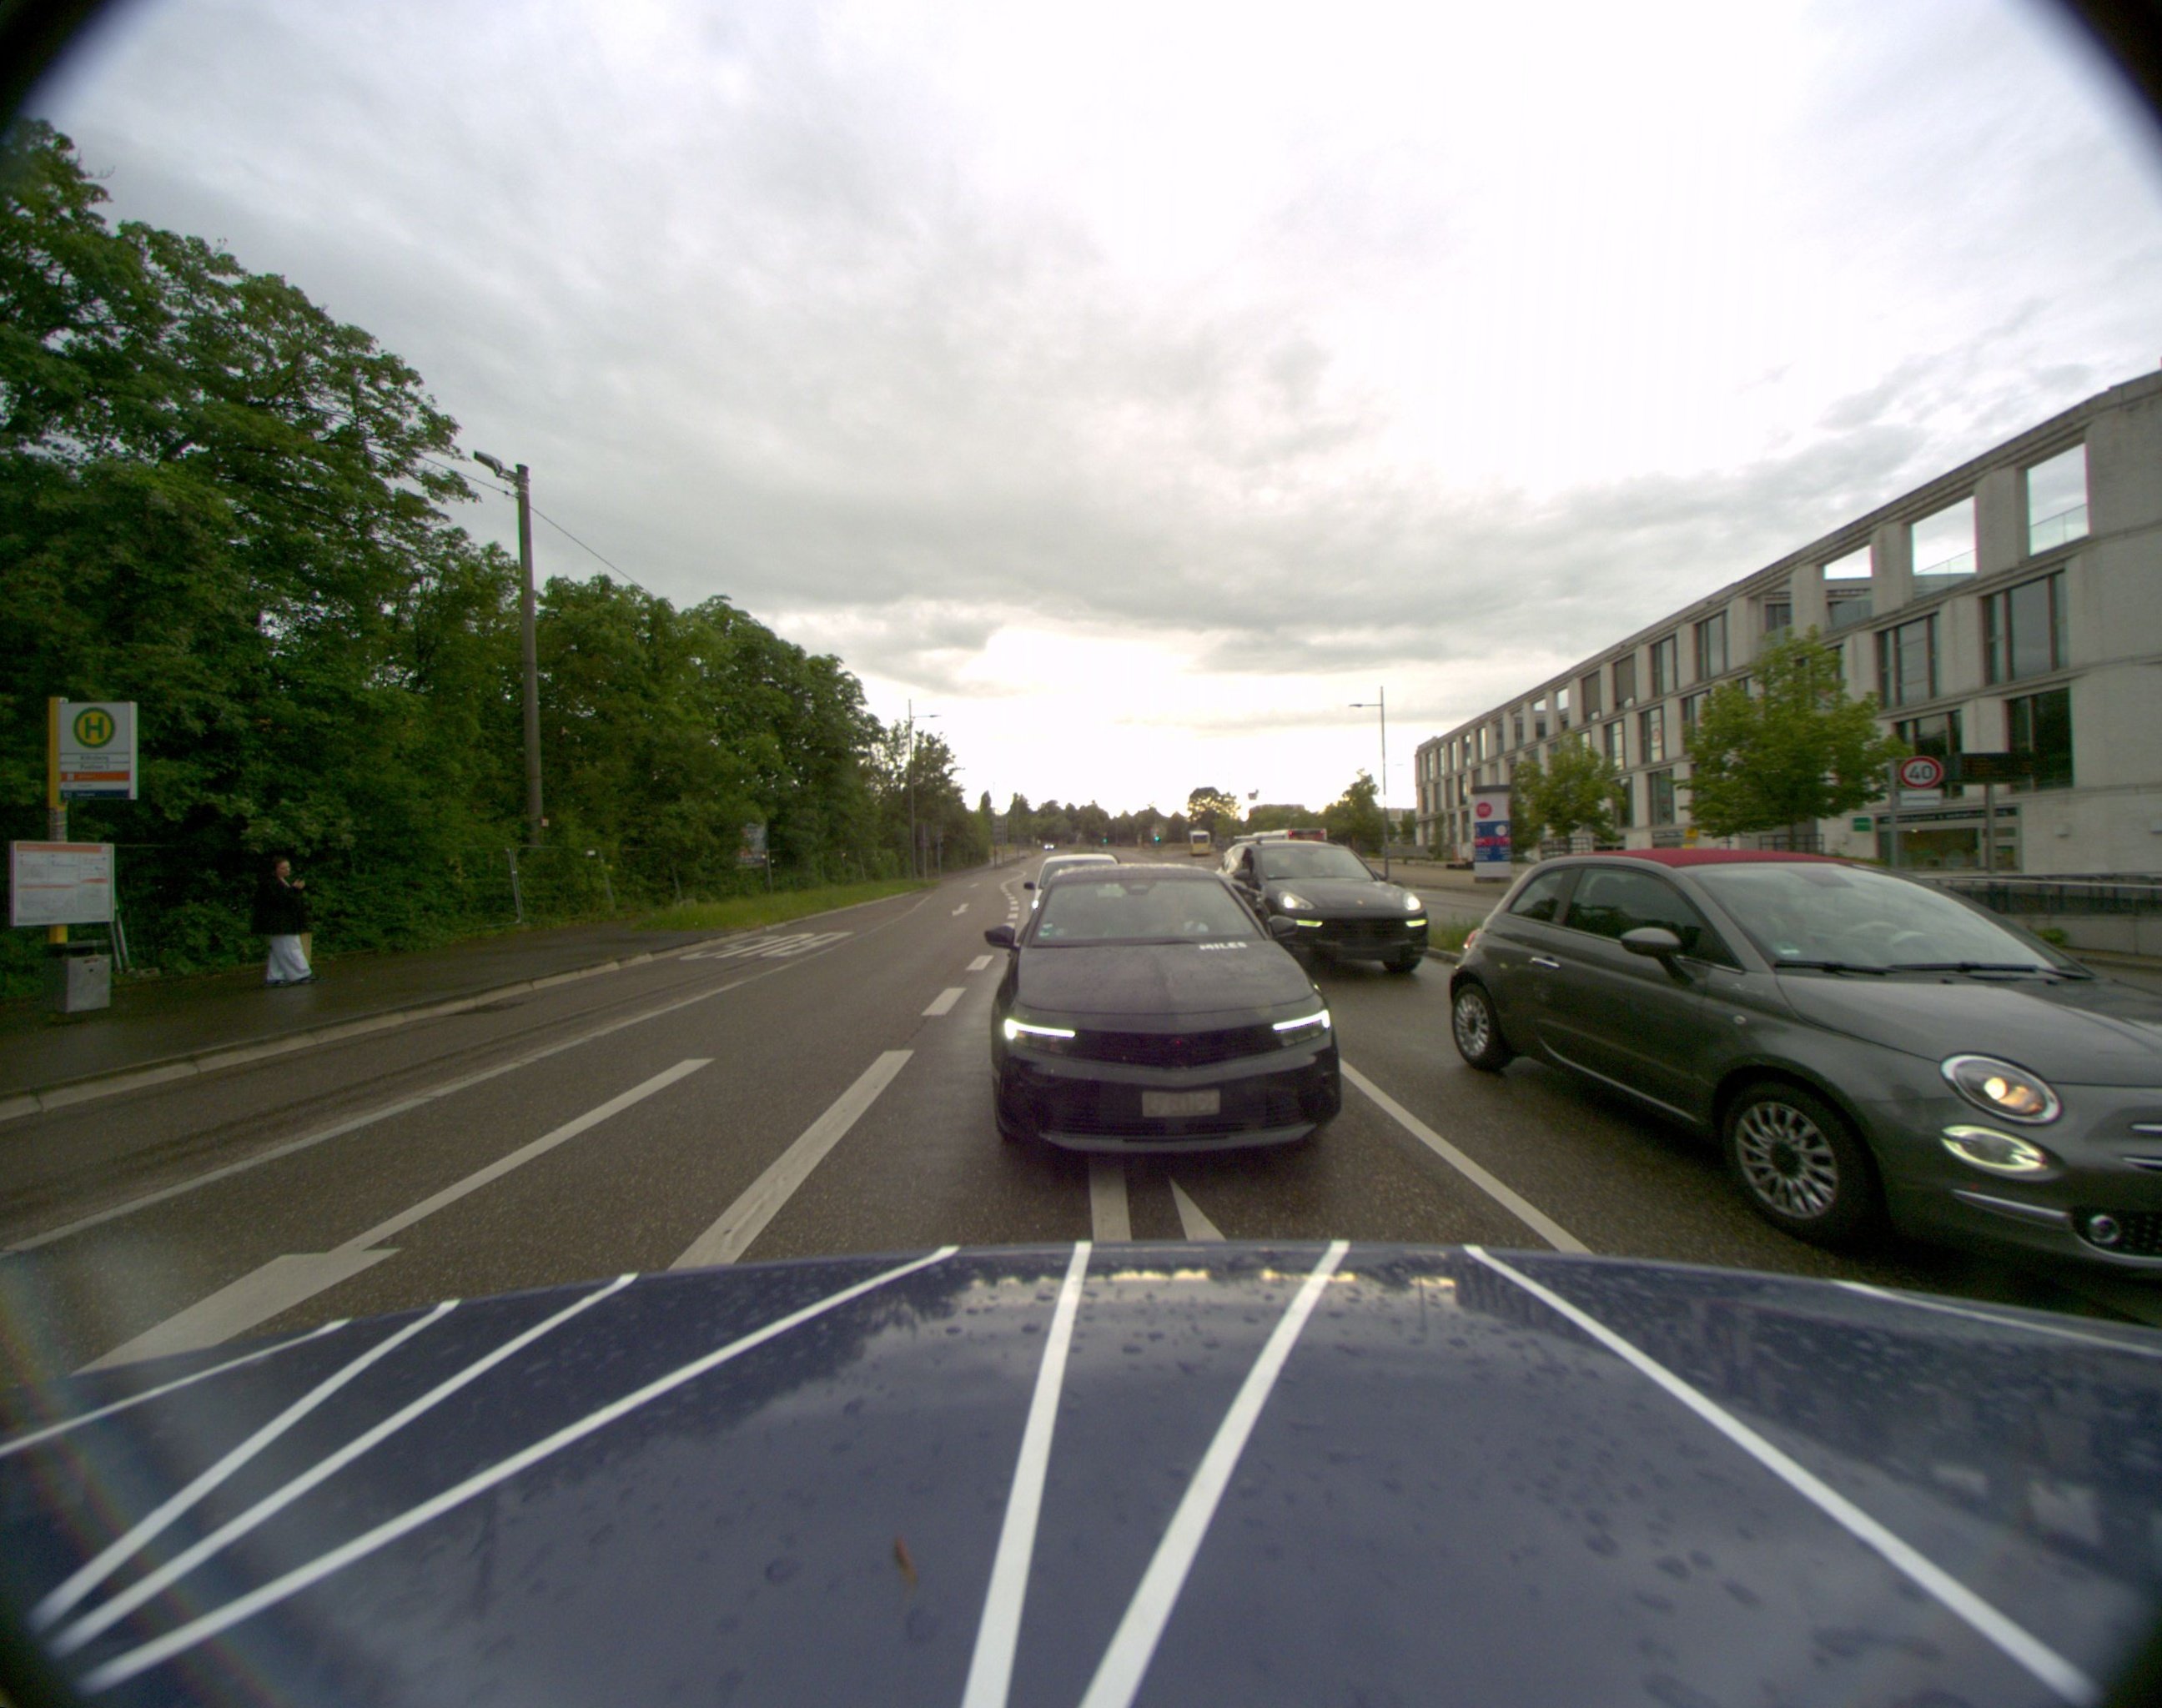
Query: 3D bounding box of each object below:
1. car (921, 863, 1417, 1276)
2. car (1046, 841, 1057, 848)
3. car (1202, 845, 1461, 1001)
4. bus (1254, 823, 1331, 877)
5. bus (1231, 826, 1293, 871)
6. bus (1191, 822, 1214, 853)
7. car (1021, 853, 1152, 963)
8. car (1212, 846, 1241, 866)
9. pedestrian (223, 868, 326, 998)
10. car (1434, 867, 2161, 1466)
[{"bbox_3d":[0.380,0.886,5.377,1.901,1.456,4.767,-2,1,1],"label":"car"},{"bbox_3d":[-7.240,-2.340,186.221,2.000,1.805,3.996,-2,1,-10],"label":"car"},{"bbox_3d":[3.078,0.726,10.508,1.934,1.649,4.617,-1,0,-2],"label":"car"},{"bbox_3d":[13.825,-0.309,50.535,2.759,3.194,9.207,-2,1,2],"label":"bus"},{"bbox_3d":[14.117,-0.448,60.040,2.693,3.163,9.912,-2,1,2],"label":"bus"},{"bbox_3d":[18.429,-2.420,114.162,2.757,4.129,19.359,-2,1,11],"label":"bus"},{"bbox_3d":[0.116,0.804,13.679,1.901,1.524,4.767,-2,1,1],"label":"car"},{"bbox_3d":[13.578,0.169,71.105,1.867,1.777,3.999,-2,1,1],"label":"car"},{"bbox_3d":[-10.551,1.011,9.956,0.588,1.618,0.661,-1,1,1],"label":"pedestrian"},{"bbox_3d":[3.411,0.860,3.771,1.631,1.473,3.505,-1,1,-1],"label":"car"}]
